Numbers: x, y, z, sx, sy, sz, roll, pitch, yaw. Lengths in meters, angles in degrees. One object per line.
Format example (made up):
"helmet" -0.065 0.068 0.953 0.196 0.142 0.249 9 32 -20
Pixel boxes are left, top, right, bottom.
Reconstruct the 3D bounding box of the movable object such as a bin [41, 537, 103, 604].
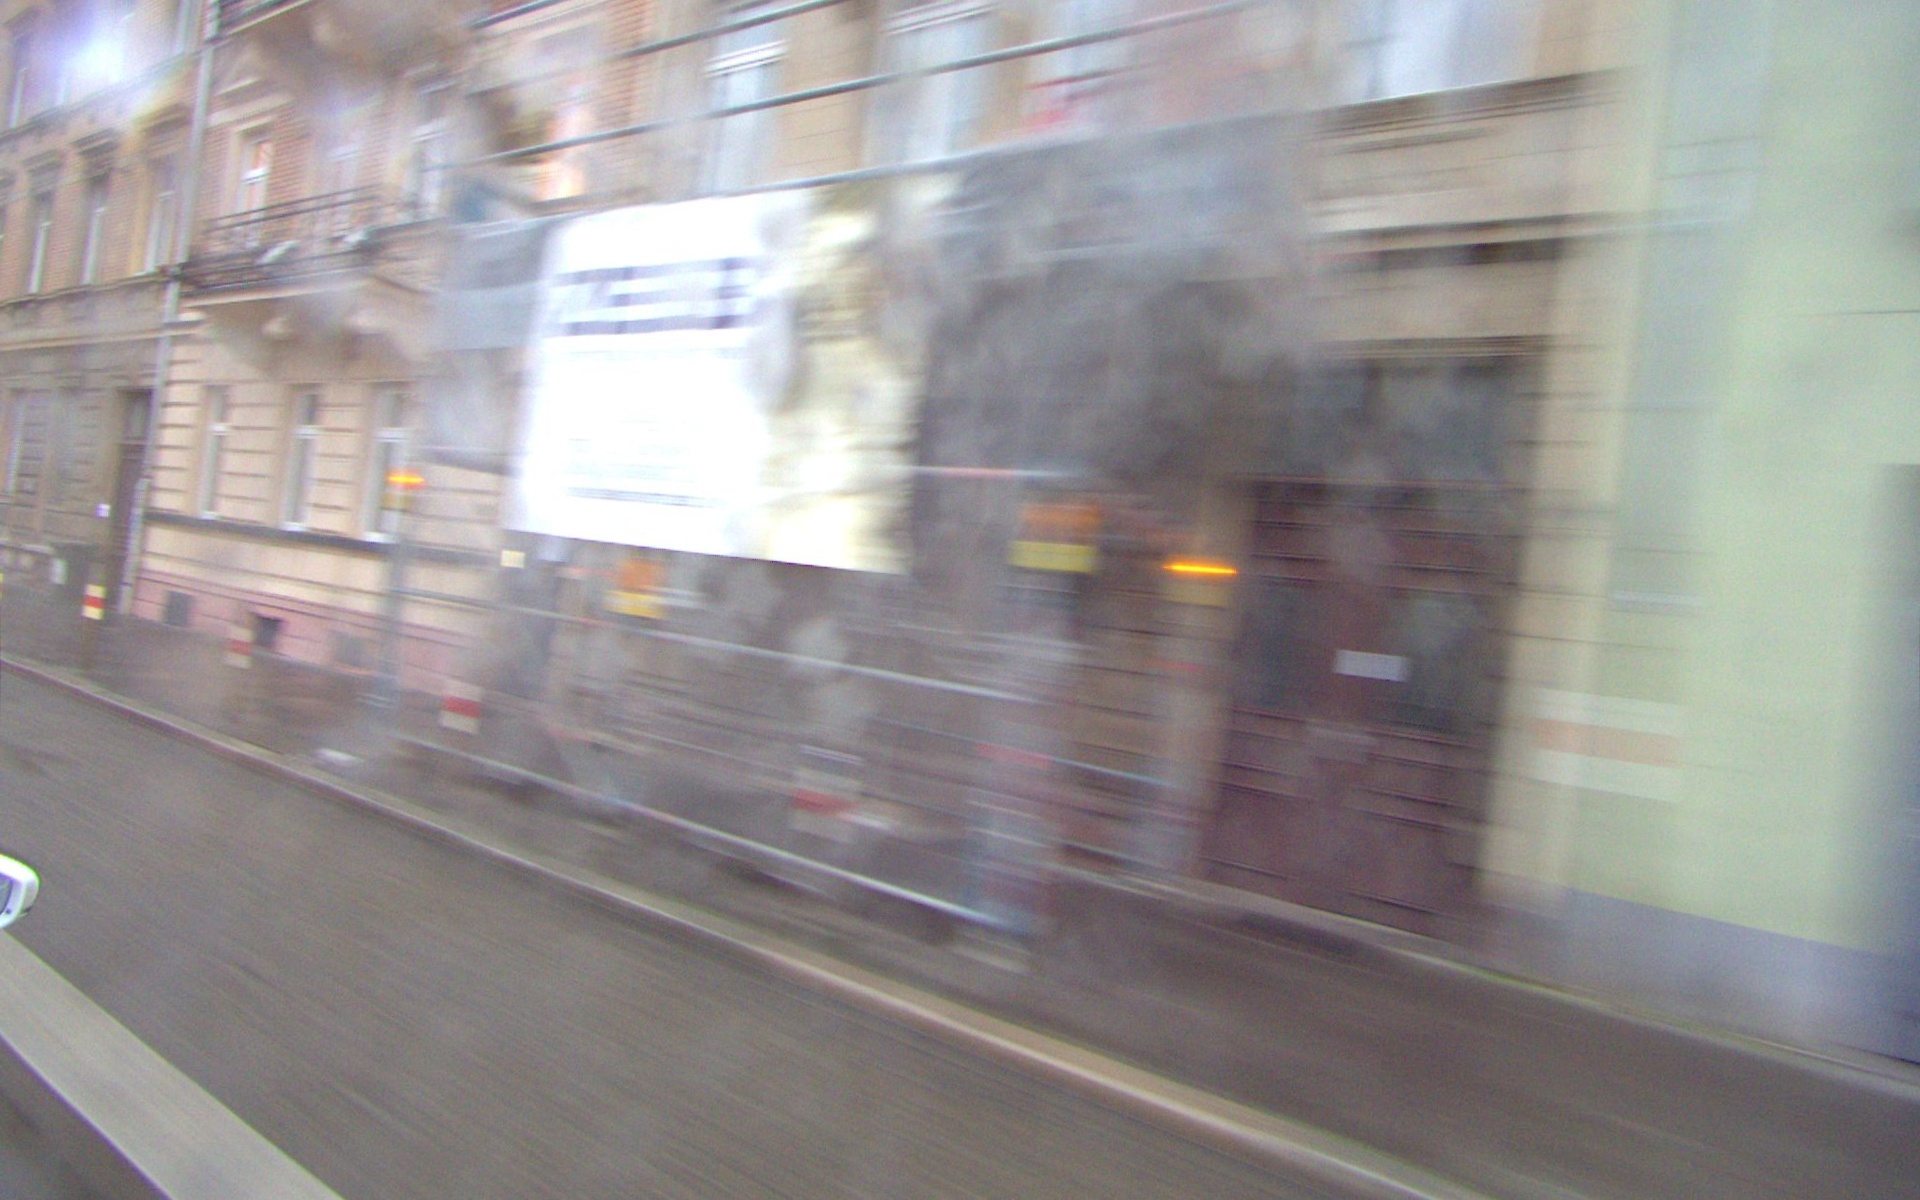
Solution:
"movable object such as a bin" -13.703 -0.453 15.528 0.499 0.942 0.507 7 -1 30
